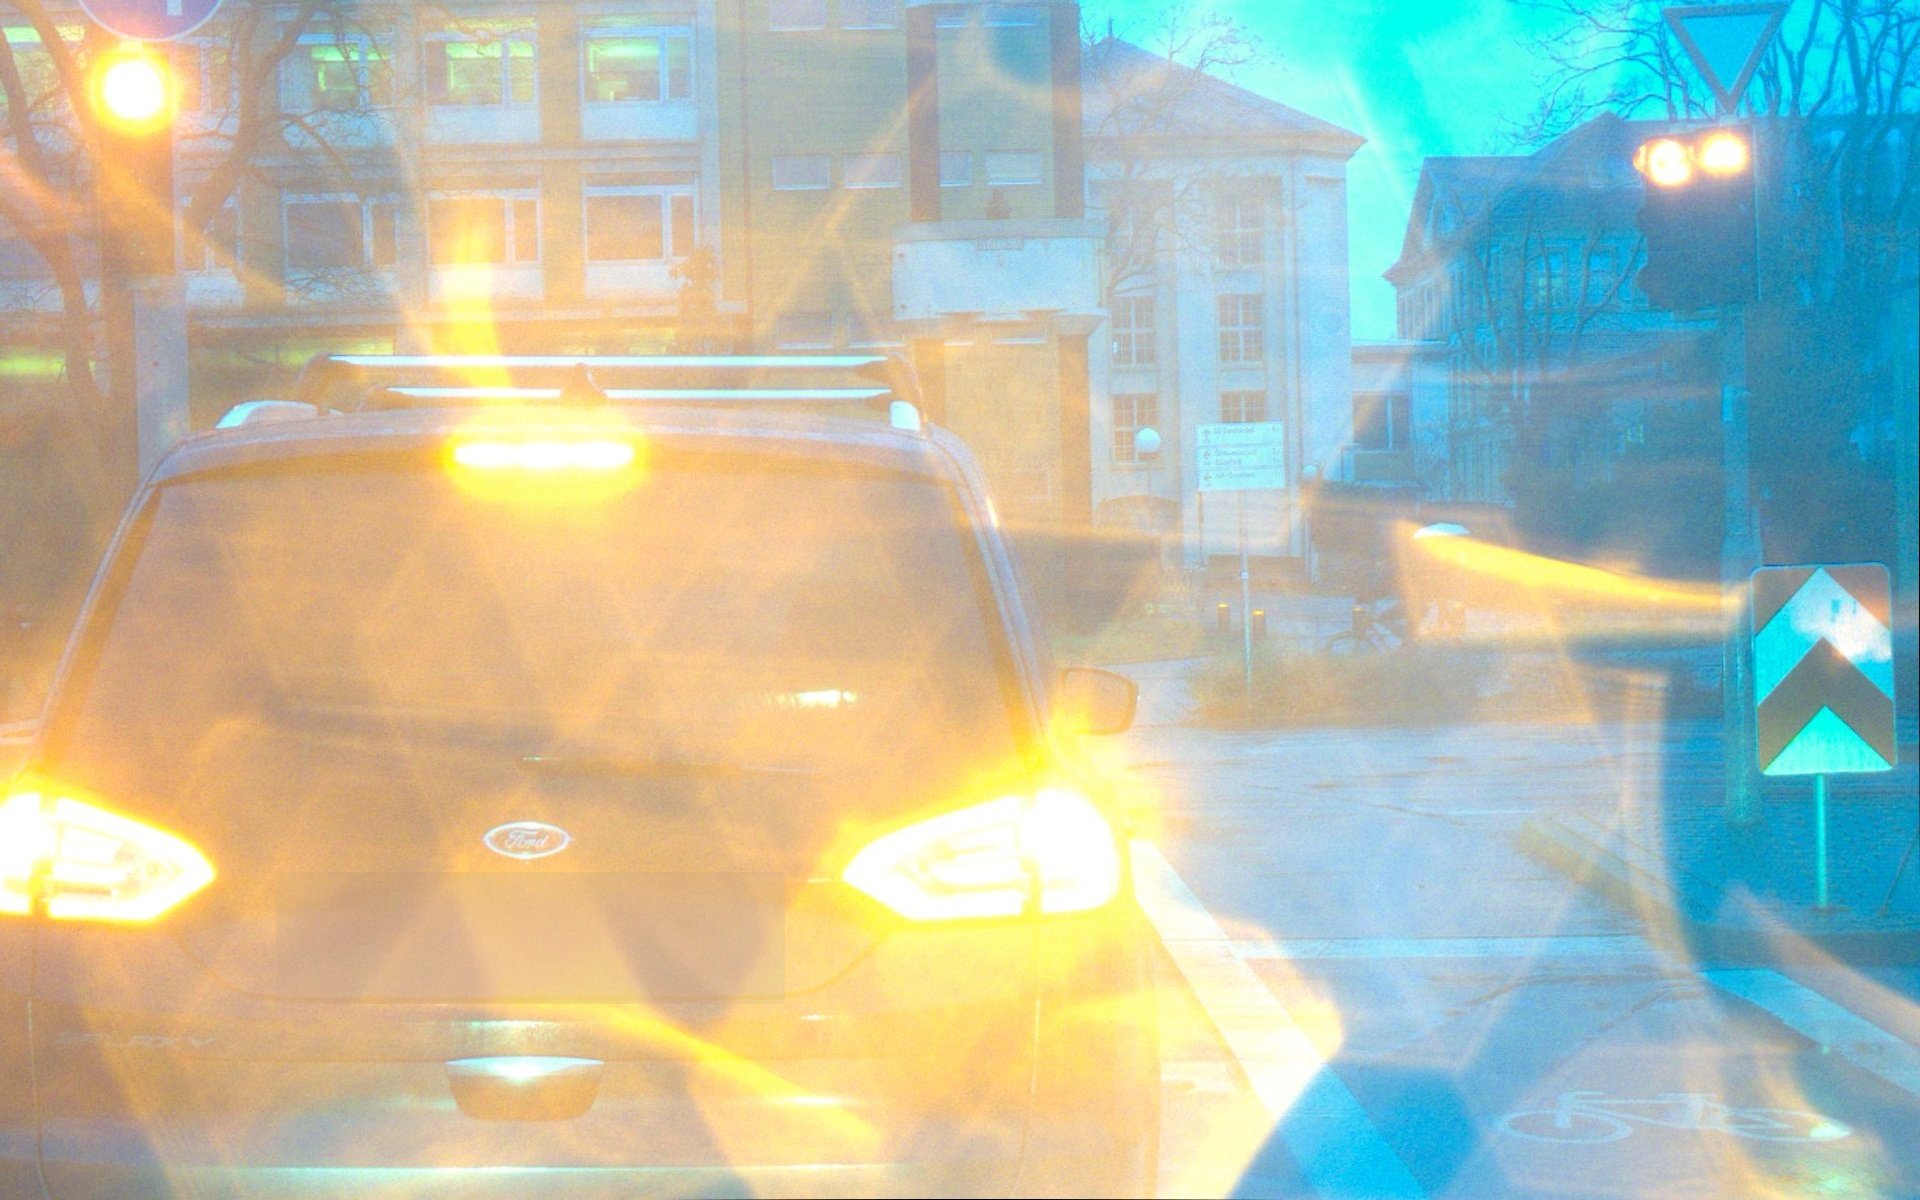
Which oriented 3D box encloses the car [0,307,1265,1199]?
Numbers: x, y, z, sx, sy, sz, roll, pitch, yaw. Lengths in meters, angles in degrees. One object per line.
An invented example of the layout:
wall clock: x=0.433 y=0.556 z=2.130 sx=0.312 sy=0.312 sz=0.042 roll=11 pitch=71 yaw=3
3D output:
car: x=-0.627 y=0.493 z=6.566 sx=1.993 sy=1.783 sz=4.000 roll=1 pitch=1 yaw=-1

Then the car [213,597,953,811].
car: x=-2.553 y=0.703 z=23.762 sx=4.686 sy=1.297 sz=1.938 roll=-2 pitch=0 yaw=11

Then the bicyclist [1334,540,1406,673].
bicyclist: x=5.020 y=0.081 z=42.106 sx=0.685 sy=1.594 sz=0.659 roll=-2 pitch=1 yaw=21

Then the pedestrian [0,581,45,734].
pedestrian: x=-12.219 y=0.730 z=42.822 sx=1.002 sy=1.836 sz=1.138 roll=-2 pitch=3 yaw=23

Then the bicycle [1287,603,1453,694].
bicycle: x=5.028 y=0.597 z=42.130 sx=1.885 sy=1.044 sz=0.659 roll=-1 pitch=1 yaw=21
